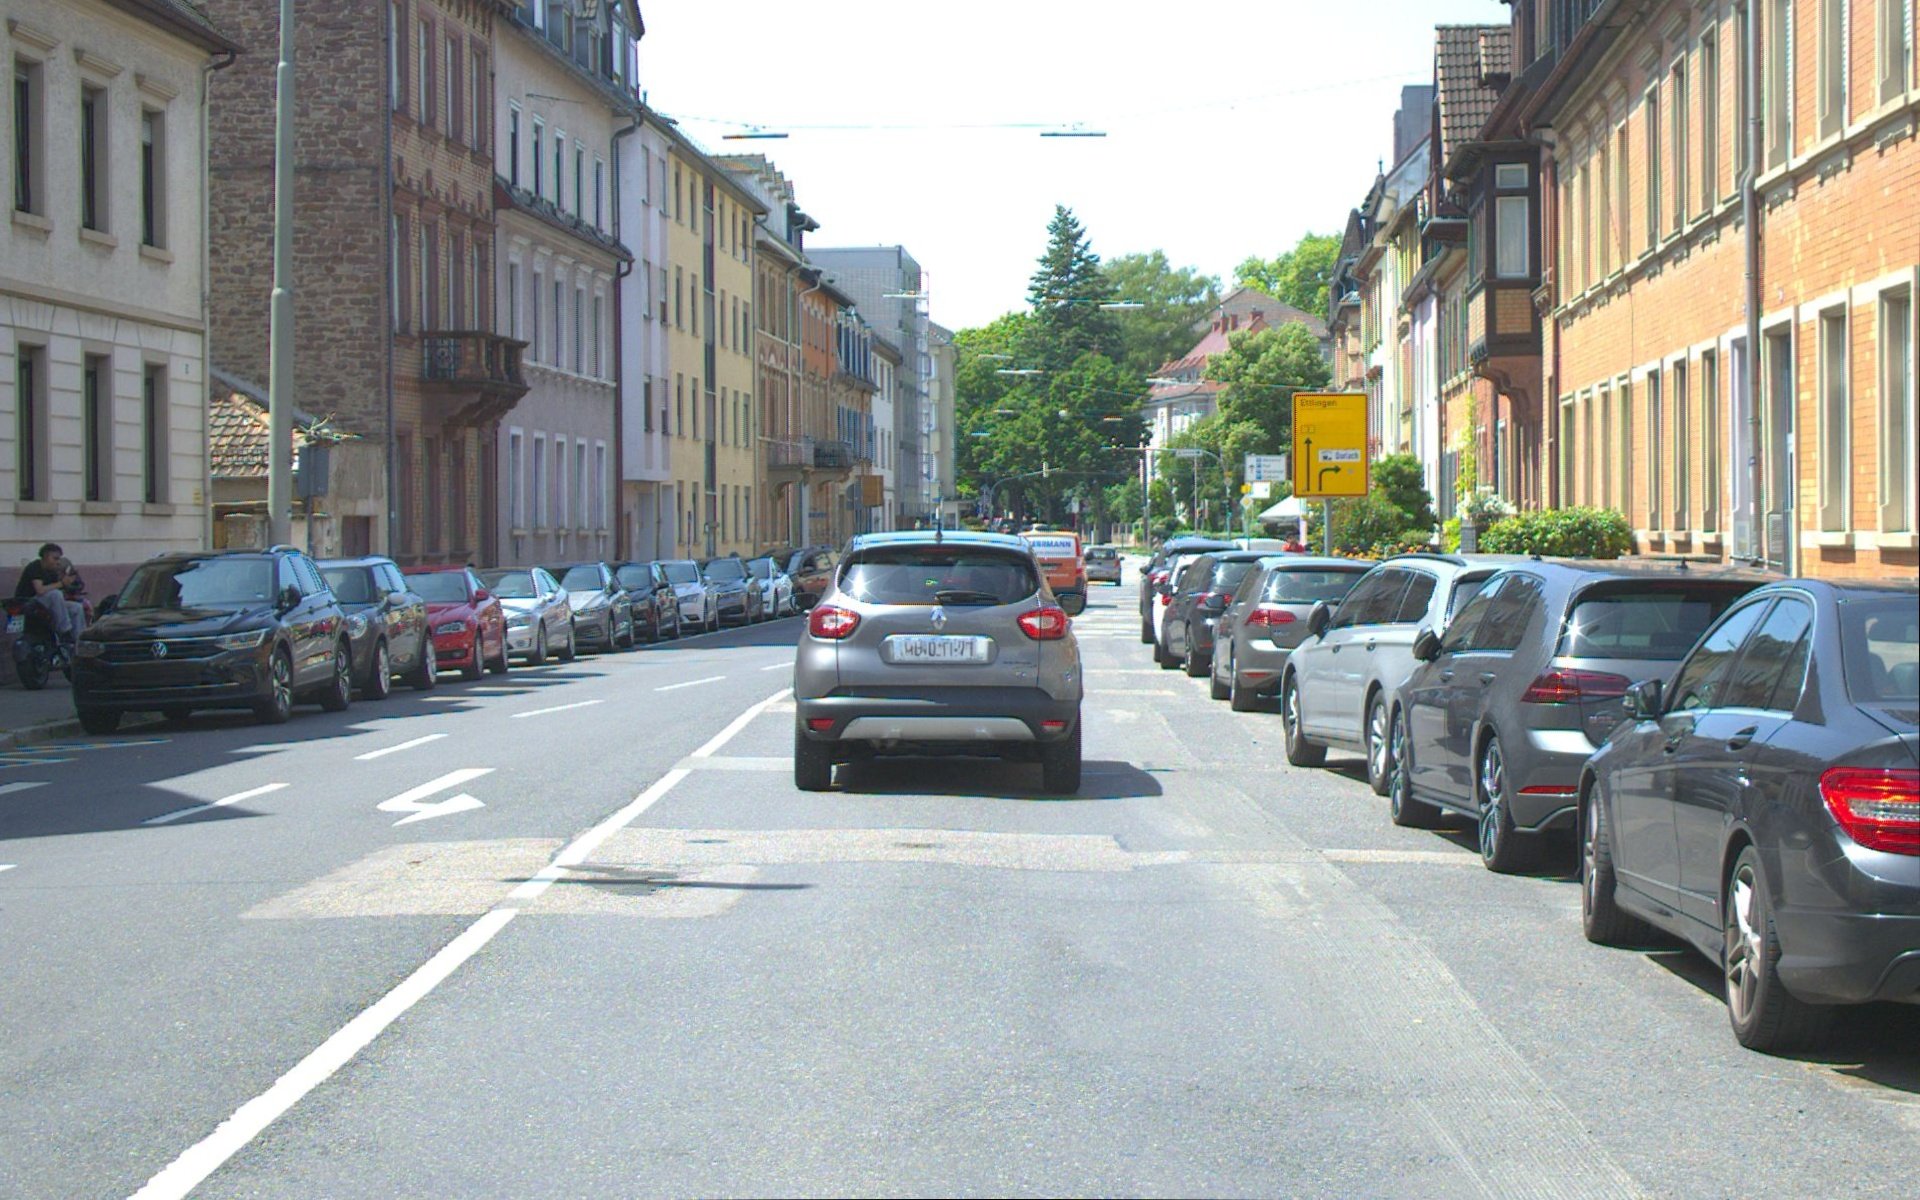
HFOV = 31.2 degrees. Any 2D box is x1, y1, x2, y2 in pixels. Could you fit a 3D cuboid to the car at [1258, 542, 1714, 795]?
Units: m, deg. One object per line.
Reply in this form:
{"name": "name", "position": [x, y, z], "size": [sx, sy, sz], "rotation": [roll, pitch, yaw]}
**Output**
{"name": "car", "position": [3.250, 0.373, 22.173], "size": [1.853, 1.458, 4.551], "rotation": [0, 1, -5]}

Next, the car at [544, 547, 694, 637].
{"name": "car", "position": [-6.015, -0.167, 61.069], "size": [1.840, 1.417, 4.502], "rotation": [-4, 1, 4]}

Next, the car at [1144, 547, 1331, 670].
{"name": "car", "position": [3.311, 0.072, 41.778], "size": [1.648, 1.409, 4.502], "rotation": [0, 1, -3]}

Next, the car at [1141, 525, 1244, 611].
{"name": "car", "position": [4.941, -0.717, 73.688], "size": [1.860, 1.742, 4.618], "rotation": [1, 1, 0]}

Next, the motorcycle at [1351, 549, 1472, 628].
{"name": "motorcycle", "position": [8.499, -0.220, 64.768], "size": [2.129, 1.403, 0.937], "rotation": [-2, 1, 3]}

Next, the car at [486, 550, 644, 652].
{"name": "car", "position": [-6.297, -0.006, 55.208], "size": [1.840, 1.417, 4.502], "rotation": [-5, 1, 1]}

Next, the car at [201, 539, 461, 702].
{"name": "car", "position": [-6.917, 0.191, 38.243], "size": [1.840, 1.591, 4.502], "rotation": [-4, 1, 2]}

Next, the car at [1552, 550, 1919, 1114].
{"name": "car", "position": [3.156, 0.583, 11.325], "size": [1.711, 1.468, 4.438], "rotation": [0, 1, 1]}

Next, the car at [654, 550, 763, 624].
{"name": "car", "position": [-5.240, -0.292, 72.233], "size": [1.840, 1.417, 4.646], "rotation": [-2, 1, 1]}

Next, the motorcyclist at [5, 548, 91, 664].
{"name": "motorcyclist", "position": [-9.861, 0.060, 37.188], "size": [0.718, 1.244, 0.712], "rotation": [0, 1, 2]}

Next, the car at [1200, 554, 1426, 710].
{"name": "car", "position": [3.283, 0.255, 32.636], "size": [1.700, 1.376, 4.167], "rotation": [0, 1, 0]}

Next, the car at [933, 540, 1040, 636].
{"name": "car", "position": [0.518, -0.243, 61.905], "size": [1.812, 1.615, 4.441], "rotation": [-2, 1, 1]}

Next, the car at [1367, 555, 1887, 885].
{"name": "car", "position": [3.153, 0.496, 17.030], "size": [1.651, 1.415, 4.049], "rotation": [0, 1, -2]}

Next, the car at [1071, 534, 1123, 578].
{"name": "car", "position": [5.036, -1.631, 125.801], "size": [1.764, 1.554, 3.942], "rotation": [0, 1, 4]}

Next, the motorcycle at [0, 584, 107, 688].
{"name": "motorcycle", "position": [-9.912, 0.376, 37.141], "size": [0.845, 1.075, 1.871], "rotation": [0, 1, 2]}

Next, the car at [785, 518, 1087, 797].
{"name": "car", "position": [-0.201, 0.300, 22.132], "size": [1.744, 1.611, 4.000], "rotation": [1, 1, -2]}

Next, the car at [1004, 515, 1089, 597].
{"name": "car", "position": [2.251, -1.147, 88.036], "size": [1.994, 2.007, 4.466], "rotation": [-1, 1, 3]}

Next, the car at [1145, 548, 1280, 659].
{"name": "car", "position": [3.384, 0.014, 46.708], "size": [1.716, 1.409, 4.589], "rotation": [-1, 1, 3]}

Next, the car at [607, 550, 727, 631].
{"name": "car", "position": [-5.612, -0.202, 66.314], "size": [1.840, 1.417, 4.502], "rotation": [-2, 1, 1]}

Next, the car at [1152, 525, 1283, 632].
{"name": "car", "position": [4.152, -0.369, 56.009], "size": [1.994, 1.656, 4.625], "rotation": [-1, 1, 3]}

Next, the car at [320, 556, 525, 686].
{"name": "car", "position": [-6.628, 0.216, 42.837], "size": [1.839, 1.417, 4.503], "rotation": [-3, 1, -1]}

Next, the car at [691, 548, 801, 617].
{"name": "car", "position": [-4.818, -0.405, 78.000], "size": [1.840, 1.417, 4.557], "rotation": [-3, 1, 4]}

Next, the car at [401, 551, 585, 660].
{"name": "car", "position": [-6.639, 0.050, 49.352], "size": [1.840, 1.417, 4.502], "rotation": [-2, 1, 2]}

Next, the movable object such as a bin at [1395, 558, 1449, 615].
{"name": "movable object such as a bin", "position": [7.515, -0.220, 55.905], "size": [0.788, 0.904, 0.539], "rotation": [-1, 1, 0]}

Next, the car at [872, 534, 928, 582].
{"name": "car", "position": [-2.147, -1.503, 122.902], "size": [1.904, 1.614, 4.303], "rotation": [-2, 1, -1]}

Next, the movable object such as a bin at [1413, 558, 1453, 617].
{"name": "movable object such as a bin", "position": [8.524, -0.227, 61.972], "size": [0.659, 1.051, 0.748], "rotation": [0, 1, 4]}

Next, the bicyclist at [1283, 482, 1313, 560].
{"name": "bicyclist", "position": [6.431, -1.503, 65.435], "size": [0.532, 1.464, 0.791], "rotation": [-1, 1, 3]}

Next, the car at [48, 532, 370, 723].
{"name": "car", "position": [-6.943, 0.213, 32.269], "size": [1.840, 1.591, 4.502], "rotation": [-2, 1, 2]}
